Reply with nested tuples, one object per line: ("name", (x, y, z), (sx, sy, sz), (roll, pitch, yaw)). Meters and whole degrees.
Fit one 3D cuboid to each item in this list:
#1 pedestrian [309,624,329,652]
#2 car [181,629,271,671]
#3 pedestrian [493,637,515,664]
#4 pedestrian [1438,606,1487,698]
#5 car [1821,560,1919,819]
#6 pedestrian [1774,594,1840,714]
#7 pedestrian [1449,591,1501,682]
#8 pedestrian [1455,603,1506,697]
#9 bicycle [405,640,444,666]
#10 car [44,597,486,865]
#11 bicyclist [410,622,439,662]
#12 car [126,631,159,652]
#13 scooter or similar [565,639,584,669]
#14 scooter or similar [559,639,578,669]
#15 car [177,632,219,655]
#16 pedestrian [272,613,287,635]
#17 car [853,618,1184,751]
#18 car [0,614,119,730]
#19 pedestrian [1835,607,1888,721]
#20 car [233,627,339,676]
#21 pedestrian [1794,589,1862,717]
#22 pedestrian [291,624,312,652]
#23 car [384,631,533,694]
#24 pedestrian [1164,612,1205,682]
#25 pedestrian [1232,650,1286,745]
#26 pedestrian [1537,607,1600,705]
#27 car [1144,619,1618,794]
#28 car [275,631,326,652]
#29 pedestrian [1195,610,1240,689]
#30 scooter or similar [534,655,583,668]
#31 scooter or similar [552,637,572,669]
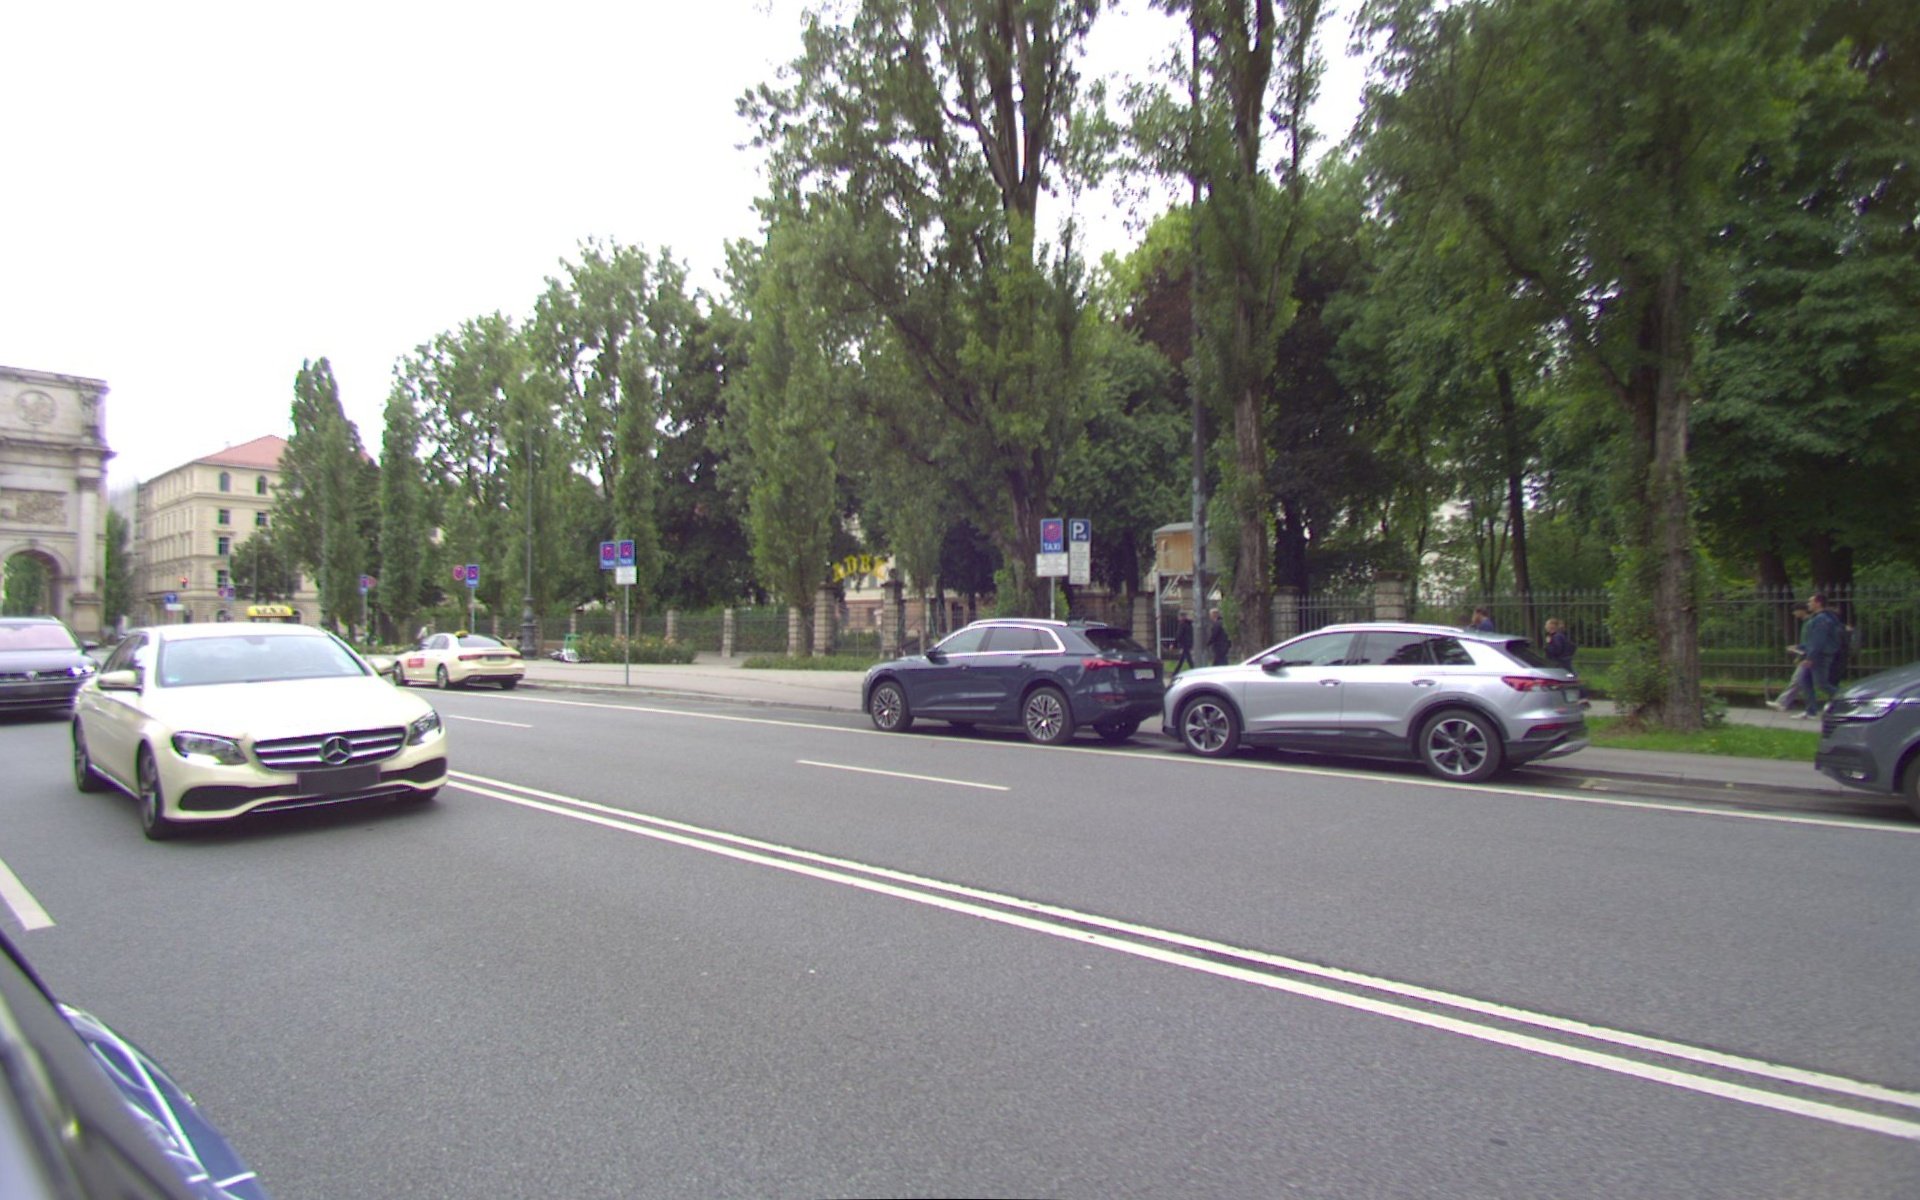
("pedestrian", (-38.404, 2.262, 60.630), (0.834, 1.691, 0.967), (2, -3, -43))
("car", (-29.609, 1.995, 40.794), (4.855, 1.571, 1.799), (-1, -4, 41))
("pedestrian", (-23.313, 2.585, 51.767), (0.832, 1.347, 0.575), (-1, -2, 14))
("pedestrian", (9.341, 0.953, 18.807), (0.673, 1.682, 0.543), (-2, -2, 41))
("car", (9.410, 0.669, 7.200), (4.933, 1.971, 1.973), (-2, -4, 41))
("pedestrian", (13.654, 0.859, 16.320), (0.757, 1.868, 0.739), (-2, -2, 41))
("pedestrian", (10.057, 0.712, 19.756), (0.733, 1.735, 0.660), (-2, -2, 42))
("pedestrian", (9.832, 0.932, 19.111), (0.722, 1.720, 0.503), (-2, -2, 41))
("bicycle", (-20.468, 2.029, 38.676), (1.733, 0.946, 0.700), (-2, -2, 40))
("car", (-5.915, 0.824, 8.349), (4.687, 1.587, 1.895), (-1, 0, 41))
("bicyclist", (-20.503, 1.599, 38.715), (0.860, 1.510, 0.687), (-2, -3, 39))
("car", (-68.090, 3.442, 84.261), (1.761, 1.684, 4.002), (2, -3, -45))
("scooter or similar", (-15.739, 2.191, 41.307), (1.122, 1.210, 0.240), (-2, -2, 41))
("scooter or similar", (-15.911, 2.190, 41.111), (1.122, 1.210, 0.240), (-2, -2, 41))
("car", (-65.929, 3.788, 87.553), (4.990, 1.869, 1.977), (-1, -3, 43))
("pedestrian", (-61.396, 2.181, 91.281), (0.747, 2.029, 0.793), (-1, -2, 6))
("car", (0.713, 1.132, 14.478), (4.610, 1.608, 1.764), (-2, -4, 41))
("car", (-15.267, 1.093, 16.317), (4.409, 1.636, 1.928), (-1, 0, 41))
("pedestrian", (13.810, 0.964, 15.504), (0.548, 1.688, 0.579), (-2, -3, 43))
("car", (-24.390, 1.823, 36.552), (4.962, 1.637, 1.917), (-1, -2, 41))
("pedestrian", (13.081, 0.792, 15.257), (0.722, 1.874, 0.503), (-2, -2, 41))
("pedestrian", (-39.201, 2.265, 60.237), (0.834, 1.691, 0.967), (2, -3, -43))
("car", (-13.382, 1.629, 26.886), (4.788, 1.509, 1.910), (-3, -3, 42))
("pedestrian", (5.256, 1.097, 23.682), (0.704, 1.608, 0.611), (-2, -2, 42))
("pedestrian", (5.653, 1.818, 19.148), (0.786, 1.733, 0.577), (-2, -2, 39))
("pedestrian", (10.371, 0.939, 17.257), (0.790, 1.630, 0.702), (-2, -2, 41))
("car", (4.603, 1.067, 11.540), (4.651, 1.596, 1.871), (-2, -3, 40))
("car", (-66.978, 4.189, 102.755), (1.999, 2.029, 3.946), (-2, -2, 40))
("pedestrian", (5.571, 1.049, 21.888), (0.704, 1.672, 0.612), (-2, -2, 41))
("scooter or similar", (-17.798, 2.719, 44.908), (1.314, 0.522, 2.236), (0, -2, 0))
("scooter or similar", (-16.087, 2.135, 40.910), (1.140, 1.251, 0.255), (-2, -2, 42))
